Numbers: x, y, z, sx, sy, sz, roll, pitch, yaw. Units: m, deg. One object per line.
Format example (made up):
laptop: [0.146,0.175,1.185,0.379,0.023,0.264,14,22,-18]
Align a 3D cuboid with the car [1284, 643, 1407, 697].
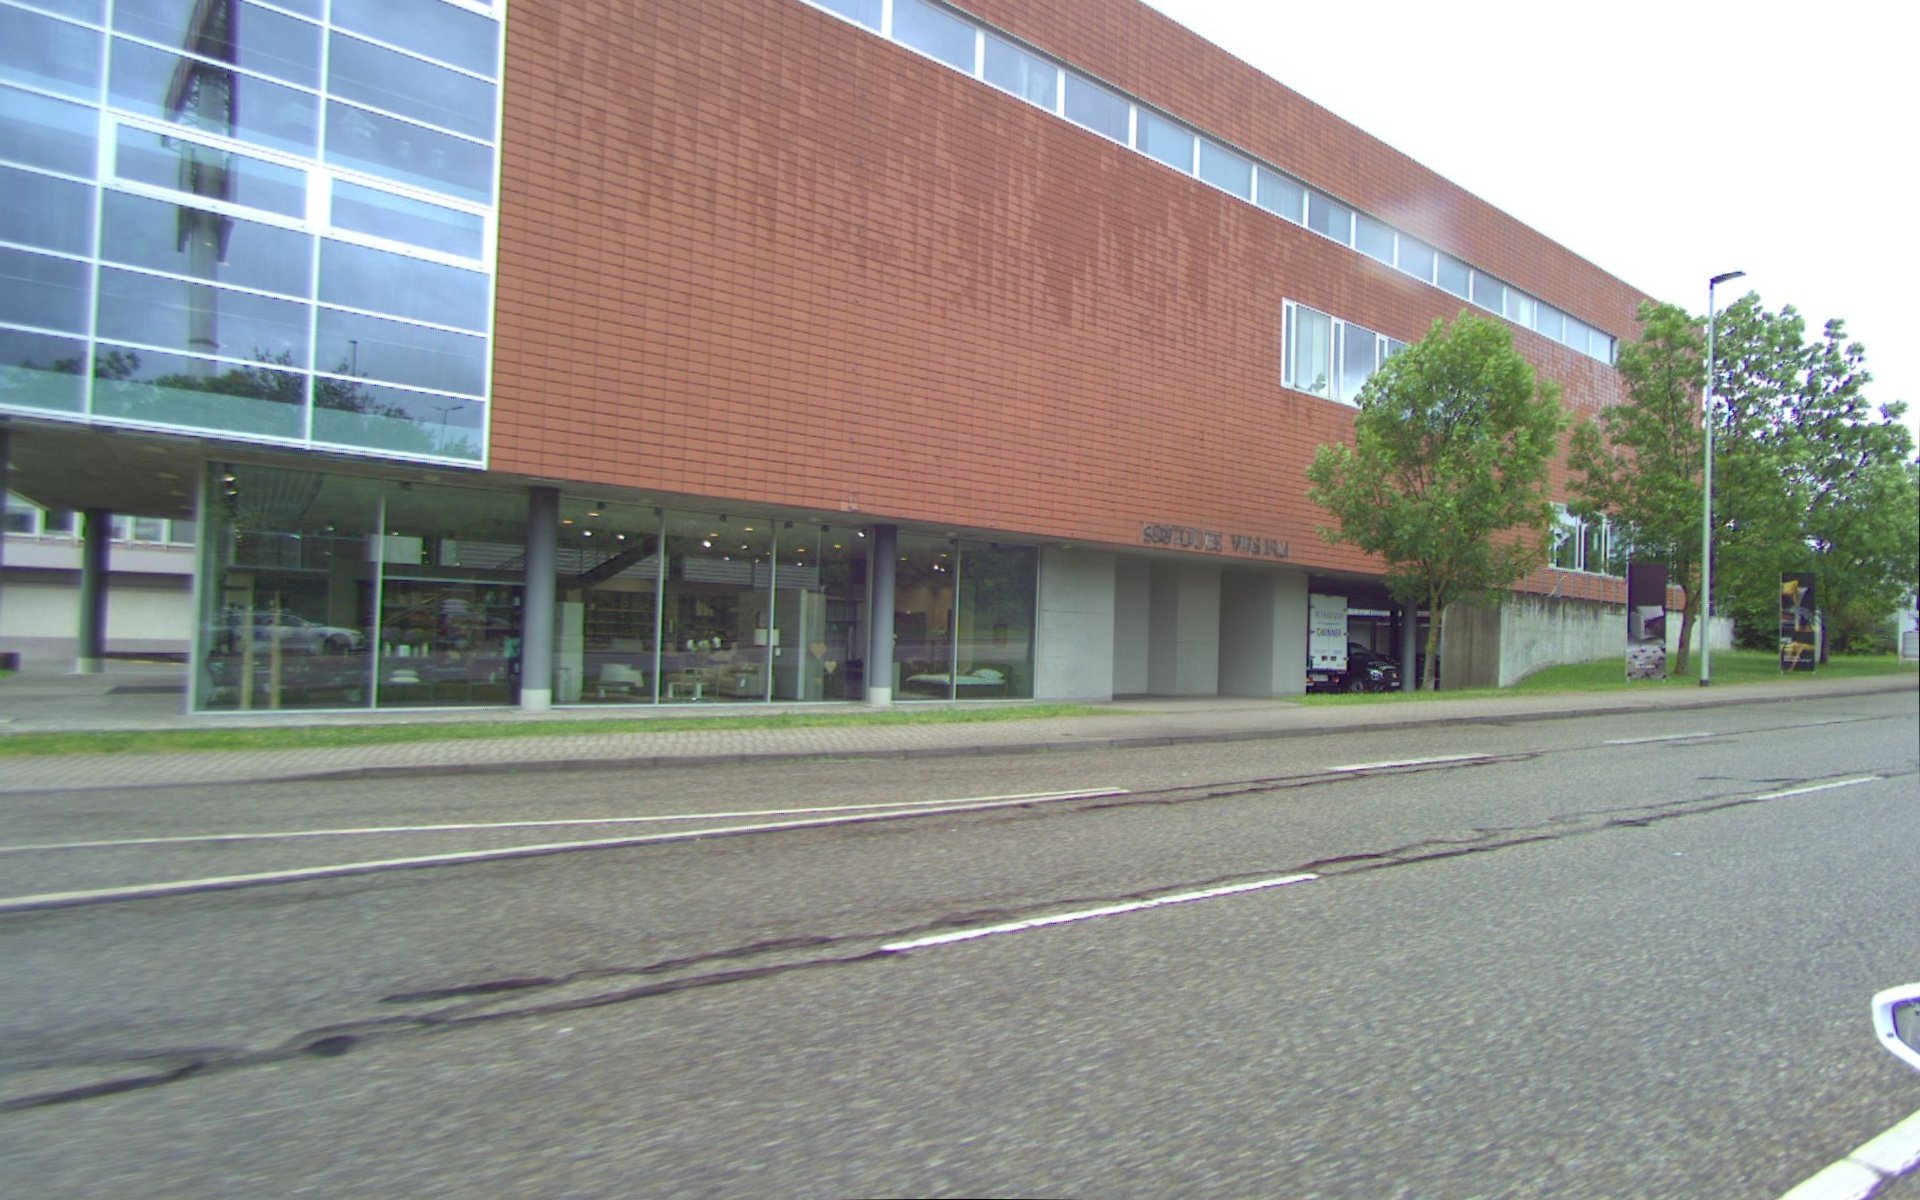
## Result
car: [13.946,2.487,36.551,1.663,1.773,4.018,1,-2,-32]

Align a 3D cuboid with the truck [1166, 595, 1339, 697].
truck: [10.377,1.627,36.194,2.004,3.351,6.094,2,-2,-35]
